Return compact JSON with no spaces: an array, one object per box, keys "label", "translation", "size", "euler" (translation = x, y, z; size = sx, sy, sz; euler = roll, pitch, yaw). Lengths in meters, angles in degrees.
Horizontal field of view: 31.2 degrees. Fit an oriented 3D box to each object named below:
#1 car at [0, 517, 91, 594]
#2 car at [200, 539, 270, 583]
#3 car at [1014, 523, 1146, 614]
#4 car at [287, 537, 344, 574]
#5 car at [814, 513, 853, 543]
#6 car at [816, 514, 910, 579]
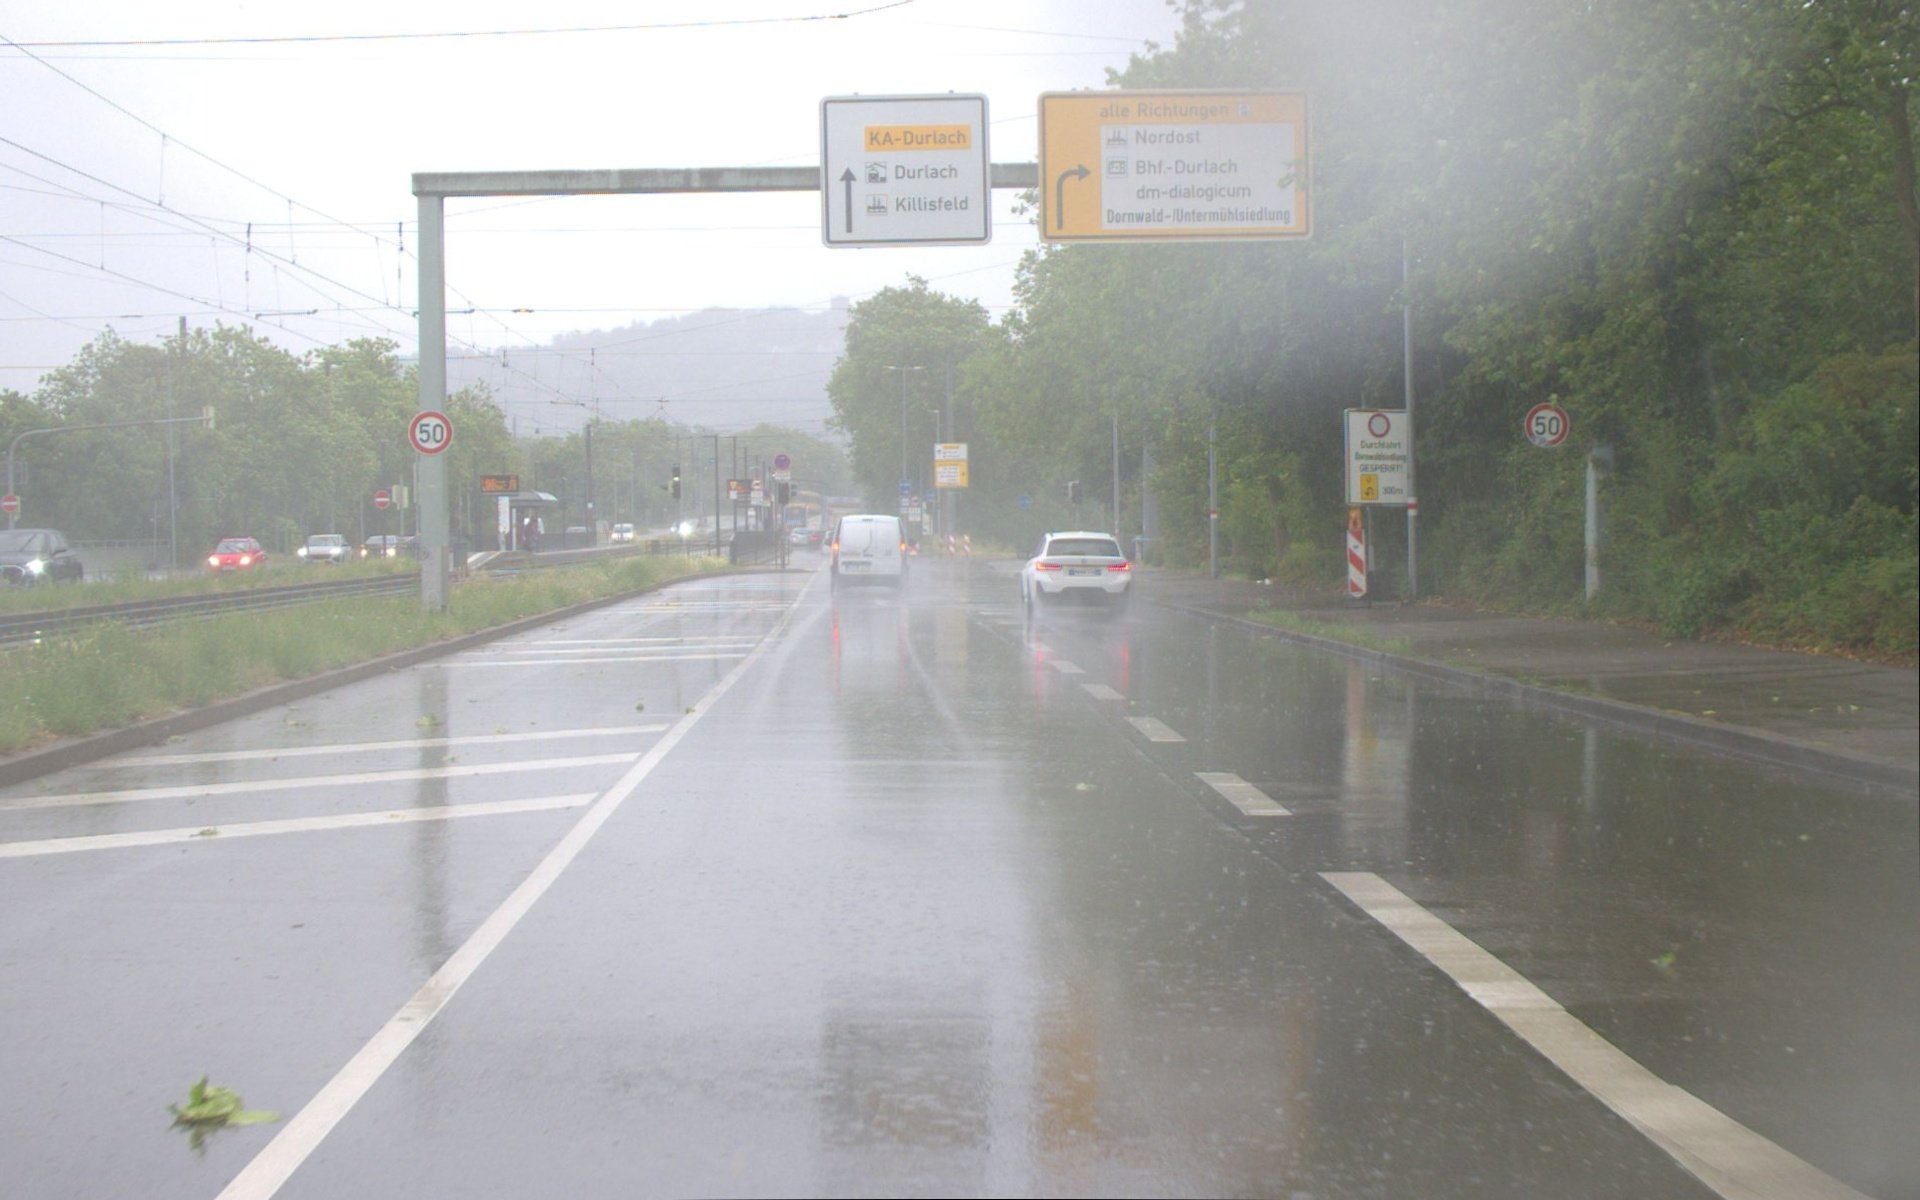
[{"label":"car","translation":[-20.191,-0.989,74.317],"size":[1.943,1.610,4.990],"euler":[-1,1,-5]},{"label":"car","translation":[-25.288,-1.381,119.968],"size":[1.720,1.489,4.001],"euler":[0,1,-2]},{"label":"car","translation":[2.040,-0.576,59.804],"size":[1.948,1.531,4.467],"euler":[0,1,-2]},{"label":"car","translation":[-26.259,-1.830,140.105],"size":[1.720,1.489,4.001],"euler":[0,1,-2]},{"label":"car","translation":[-6.678,-3.823,181.419],"size":[1.993,1.542,4.001],"euler":[1,2,-2]},{"label":"car","translation":[-2.210,-1.223,78.205],"size":[2.077,1.415,4.000],"euler":[0,1,-1]}]
